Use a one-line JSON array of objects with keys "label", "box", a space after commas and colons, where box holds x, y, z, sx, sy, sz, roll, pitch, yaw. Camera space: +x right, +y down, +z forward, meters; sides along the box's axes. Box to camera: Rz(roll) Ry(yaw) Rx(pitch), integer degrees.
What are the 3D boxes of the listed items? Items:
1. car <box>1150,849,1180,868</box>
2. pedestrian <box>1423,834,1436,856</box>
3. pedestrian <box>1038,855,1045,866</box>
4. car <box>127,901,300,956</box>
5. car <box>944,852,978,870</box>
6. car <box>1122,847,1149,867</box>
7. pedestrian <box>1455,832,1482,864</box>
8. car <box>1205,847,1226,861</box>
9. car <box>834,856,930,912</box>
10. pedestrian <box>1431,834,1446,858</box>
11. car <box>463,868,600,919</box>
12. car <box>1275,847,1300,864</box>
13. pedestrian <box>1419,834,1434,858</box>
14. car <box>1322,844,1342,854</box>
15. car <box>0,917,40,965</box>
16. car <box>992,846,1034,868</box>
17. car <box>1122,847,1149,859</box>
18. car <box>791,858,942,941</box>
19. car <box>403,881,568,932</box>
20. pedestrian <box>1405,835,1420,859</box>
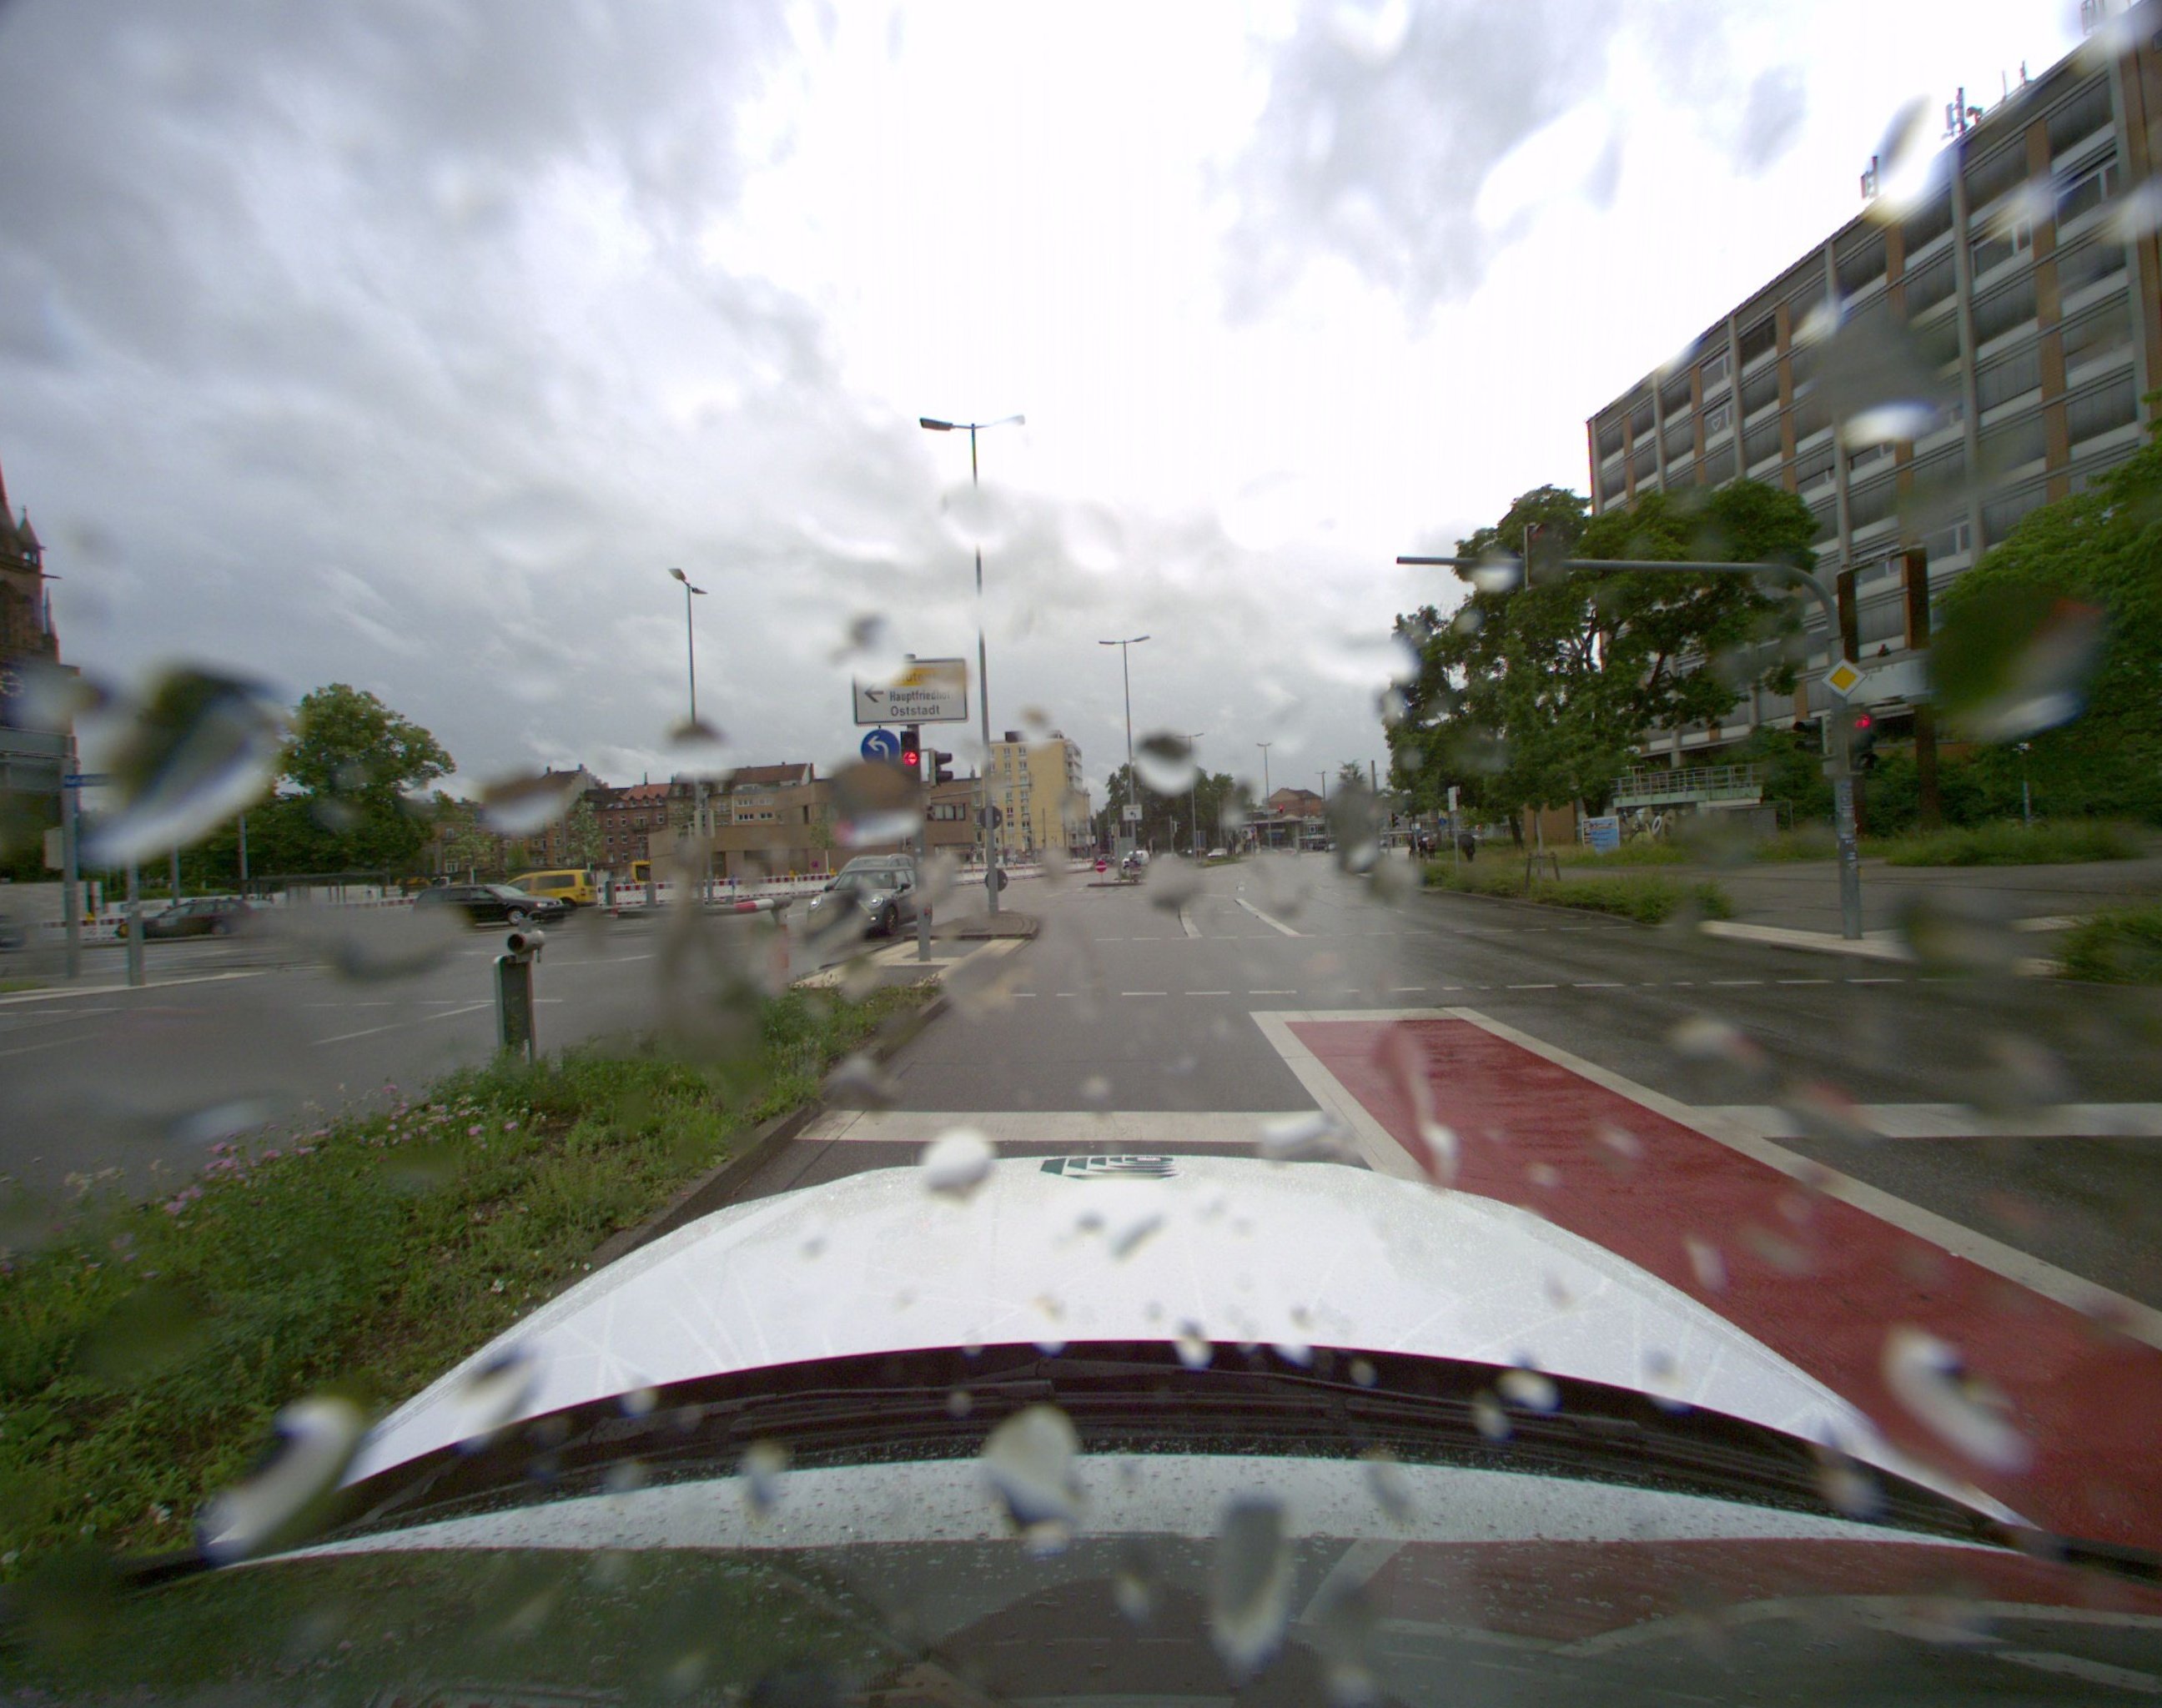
[{"label": "car", "box": [8.139, 0.423, 78.367, 1.774, 1.643, 4.068, -3, 0, 21]}, {"label": "pedestrian", "box": [26.044, -0.692, 60.862, 0.698, 1.588, 0.939, -3, 0, 12]}, {"label": "pedestrian", "box": [-7.069, 1.193, 145.762, 1.089, 1.813, 1.117, -3, 0, -2]}, {"label": "car", "box": [-33.303, 2.837, 31.373, 4.440, 1.706, 1.707, -3, 0, -6]}, {"label": "car", "box": [-21.086, 1.231, 142.845, 5.326, 2.887, 2.342, -3, 0, 4]}, {"label": "car", "box": [5.540, 0.319, 82.329, 1.776, 1.858, 4.178, -3, 0, 17]}, {"label": "pedestrian", "box": [20.368, -0.313, 42.856, 1.015, 1.588, 0.939, -3, 0, 12]}, {"label": "car", "box": [18.405, -0.021, 111.589, 1.774, 1.643, 4.183, -3, 0, 23]}, {"label": "car", "box": [-6.756, 0.958, 28.183, 1.764, 1.678, 4.774, -3, 0, 4]}, {"label": "pedestrian", "box": [24.286, -0.567, 55.401, 0.698, 1.588, 0.939, -3, 0, 12]}, {"label": "car", "box": [-21.913, 1.541, 32.655, 4.148, 1.706, 1.701, -3, 0, -17]}, {"label": "car", "box": [21.954, 0.101, 86.492, 1.774, 1.643, 4.183, -3, 0, 23]}, {"label": "pedestrian", "box": [23.600, -0.531, 55.666, 0.698, 1.588, 0.939, -3, 0, 12]}, {"label": "car", "box": [47.427, -0.902, 153.905, 1.773, 1.643, 4.184, -3, 0, 45]}, {"label": "car", "box": [-42.058, 3.372, 30.405, 3.803, 1.706, 1.707, -3, 0, -6]}, {"label": "car", "box": [-11.796, 0.458, 141.991, 6.711, 3.380, 2.813, -3, 0, 4]}, {"label": "car", "box": [8.918, -0.131, 132.725, 4.363, 1.643, 1.798, -3, 0, 3]}, {"label": "car", "box": [-4.598, 0.907, 18.129, 1.763, 1.376, 4.128, -5, 1, 6]}, {"label": "car", "box": [-19.982, 1.739, 27.448, 4.185, 1.402, 1.615, -3, 0, -5]}, {"label": "pedestrian", "box": [22.917, -0.495, 56.307, 0.749, 1.588, 0.939, -3, 0, 12]}]
